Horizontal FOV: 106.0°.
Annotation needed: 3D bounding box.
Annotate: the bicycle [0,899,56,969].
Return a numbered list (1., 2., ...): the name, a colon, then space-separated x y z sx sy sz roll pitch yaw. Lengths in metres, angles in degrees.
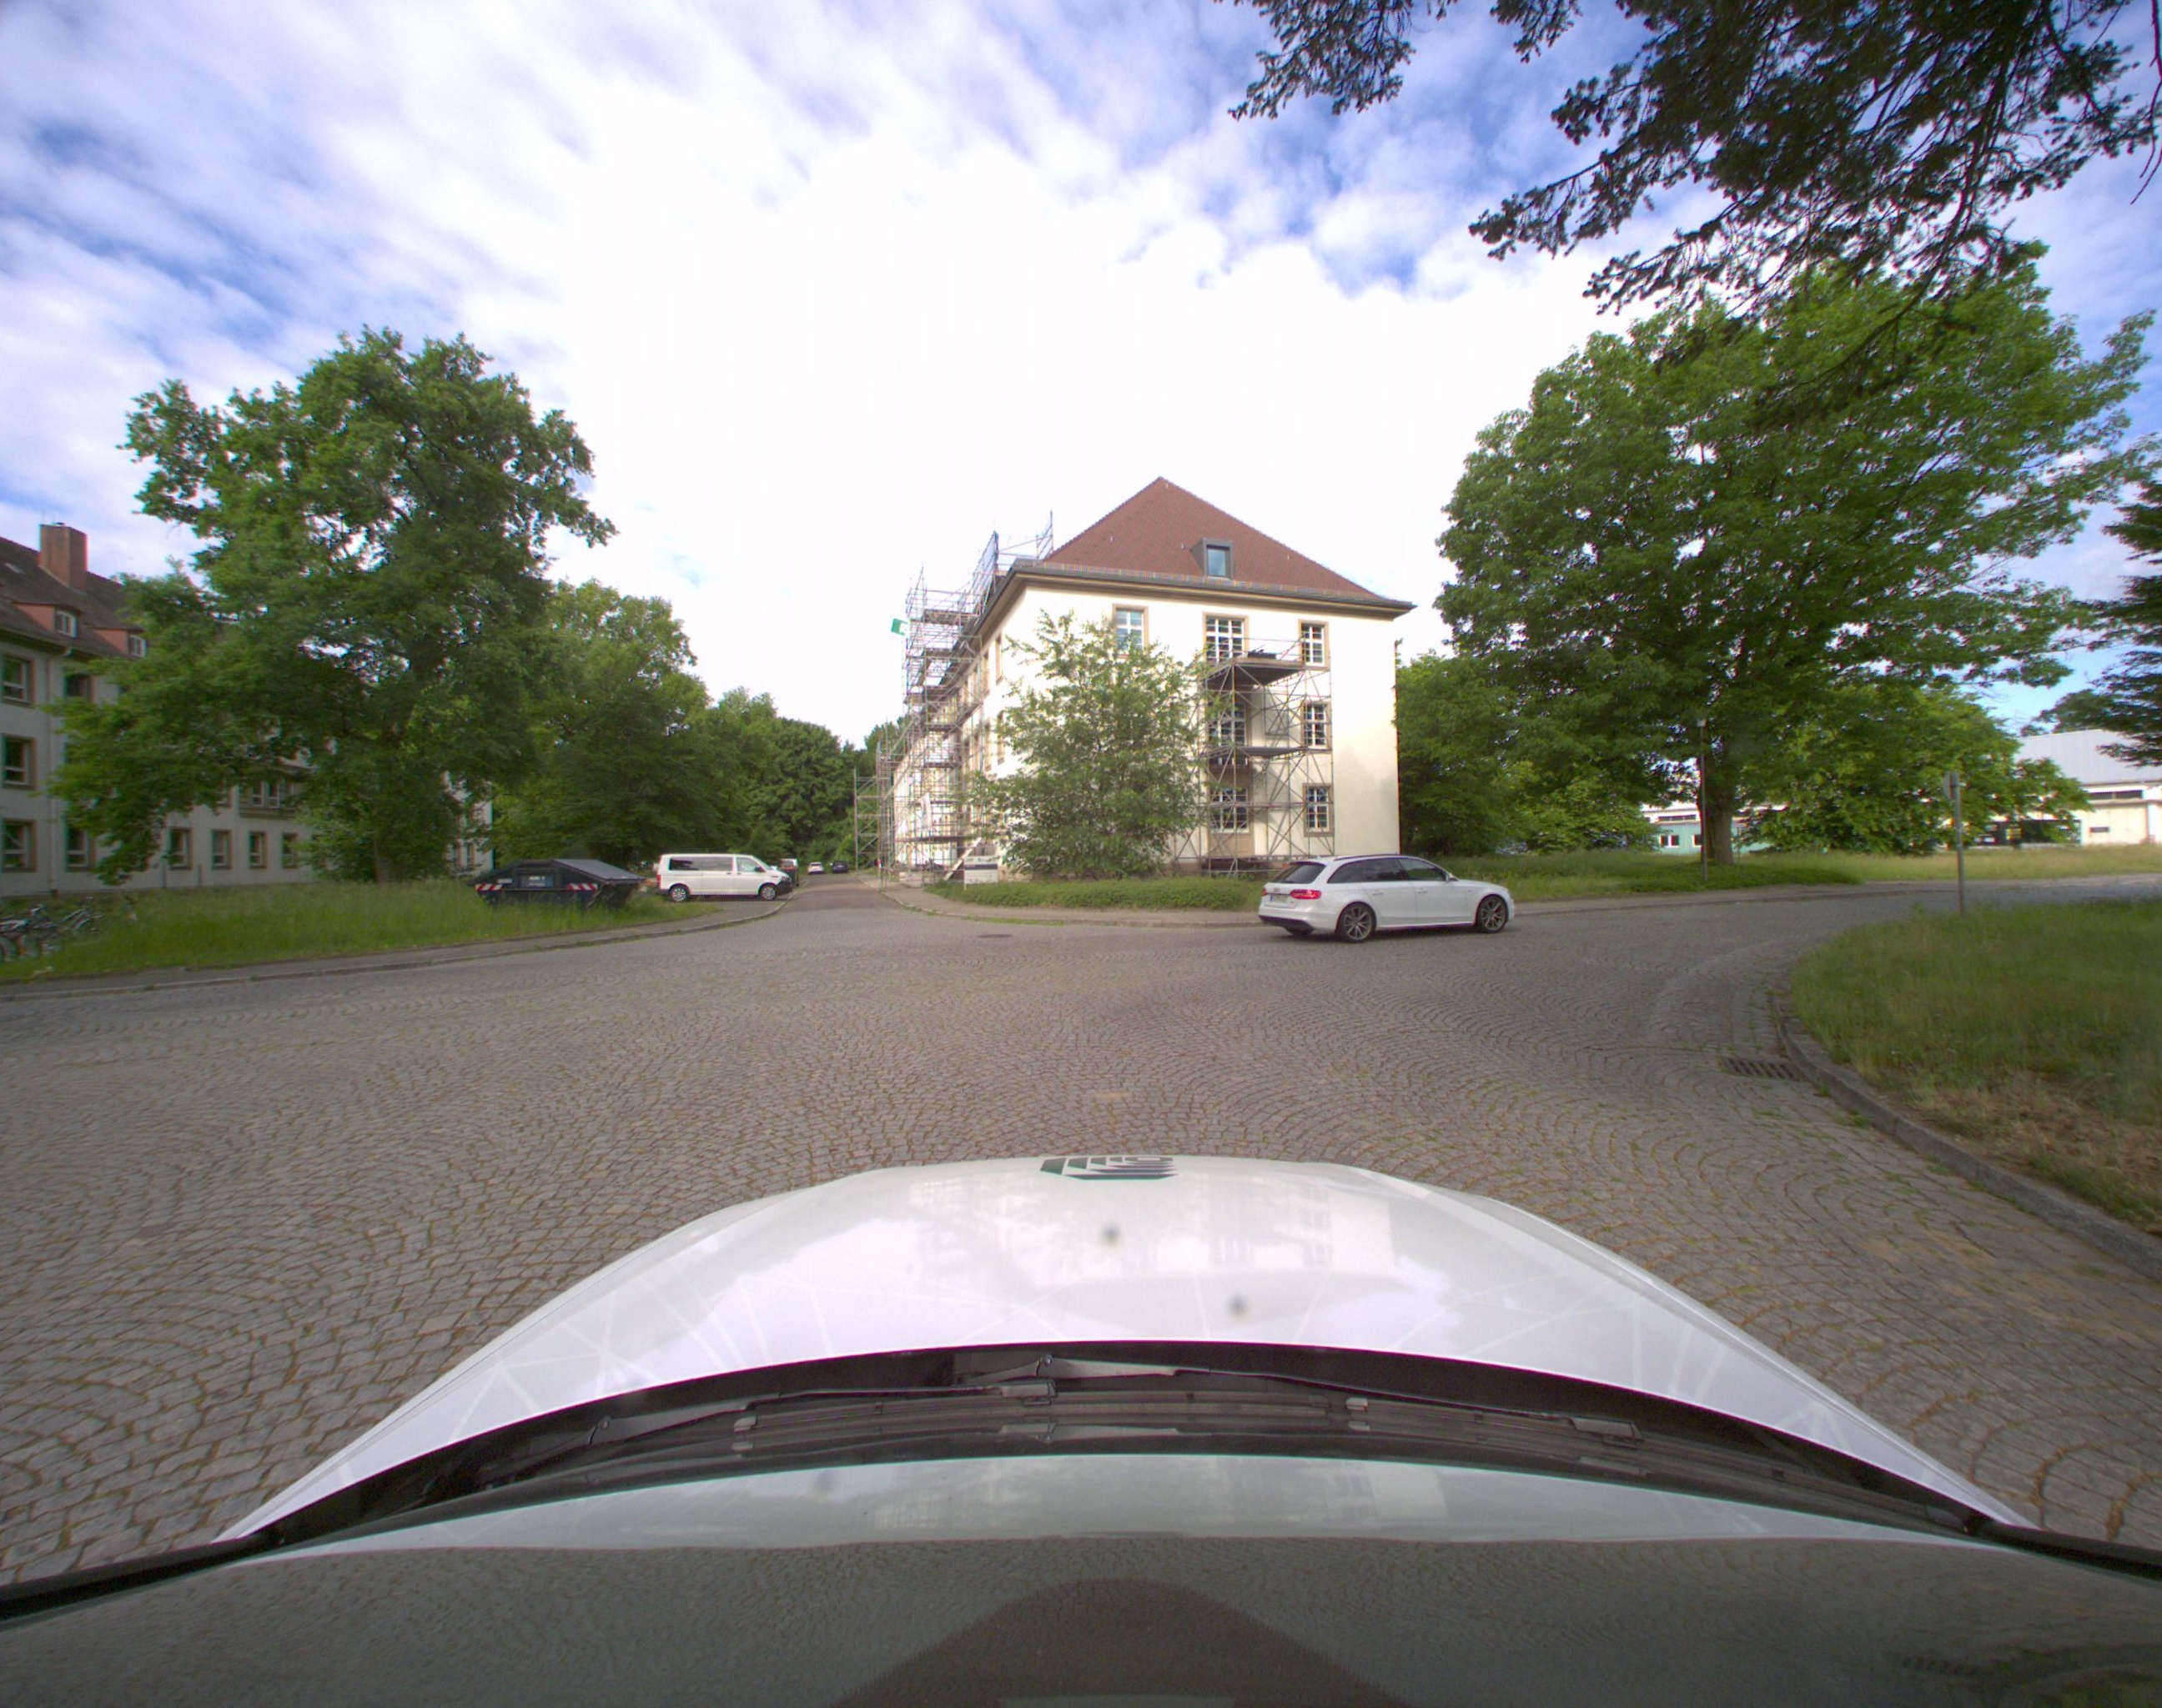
1. bicycle: -18.867 1.402 13.724 1.807 1.103 0.695 -3 3 -36

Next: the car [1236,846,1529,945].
1. car: 5.254 0.632 14.241 4.704 1.437 1.843 -1 0 -19

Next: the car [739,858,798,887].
1. car: -23.031 1.370 60.115 4.002 2.014 1.908 2 -2 -22

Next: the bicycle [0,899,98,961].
1. bicycle: -19.736 1.417 14.968 1.969 1.004 0.679 -3 3 -36

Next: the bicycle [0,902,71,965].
1. bicycle: -19.241 1.436 14.322 1.704 1.001 0.625 -3 3 -36

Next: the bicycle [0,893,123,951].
1. bicycle: -21.599 1.418 17.220 1.629 1.058 0.521 -3 3 -37

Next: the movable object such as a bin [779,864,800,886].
1. movable object such as a bin: -19.016 1.384 53.187 1.186 1.407 0.969 2 -2 -17

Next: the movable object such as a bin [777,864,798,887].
1. movable object such as a bin: -18.755 1.360 52.066 1.186 1.407 0.969 2 -2 -17

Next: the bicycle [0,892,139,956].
1. bicycle: -20.631 1.394 16.572 1.785 1.105 0.536 -3 3 -37

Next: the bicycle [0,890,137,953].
1. bicycle: -21.042 1.387 16.941 1.710 1.116 0.536 -3 3 -37

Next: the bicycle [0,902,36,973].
1. bicycle: -18.457 1.418 13.151 1.781 1.103 0.695 -3 3 -36

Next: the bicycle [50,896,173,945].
1. bicycle: -21.412 1.451 18.026 1.629 0.910 0.521 -3 3 -37

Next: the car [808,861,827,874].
1. car: -31.627 1.607 97.527 2.008 1.548 3.931 2 -2 -20

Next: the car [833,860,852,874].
1. car: -28.903 1.606 98.879 2.066 1.594 3.980 1 -2 -14

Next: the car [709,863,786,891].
1. car: -18.869 1.297 46.202 3.627 1.481 1.815 1 -2 -10

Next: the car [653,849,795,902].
1. car: -14.772 0.872 34.063 5.215 2.060 2.174 0 -1 -19
